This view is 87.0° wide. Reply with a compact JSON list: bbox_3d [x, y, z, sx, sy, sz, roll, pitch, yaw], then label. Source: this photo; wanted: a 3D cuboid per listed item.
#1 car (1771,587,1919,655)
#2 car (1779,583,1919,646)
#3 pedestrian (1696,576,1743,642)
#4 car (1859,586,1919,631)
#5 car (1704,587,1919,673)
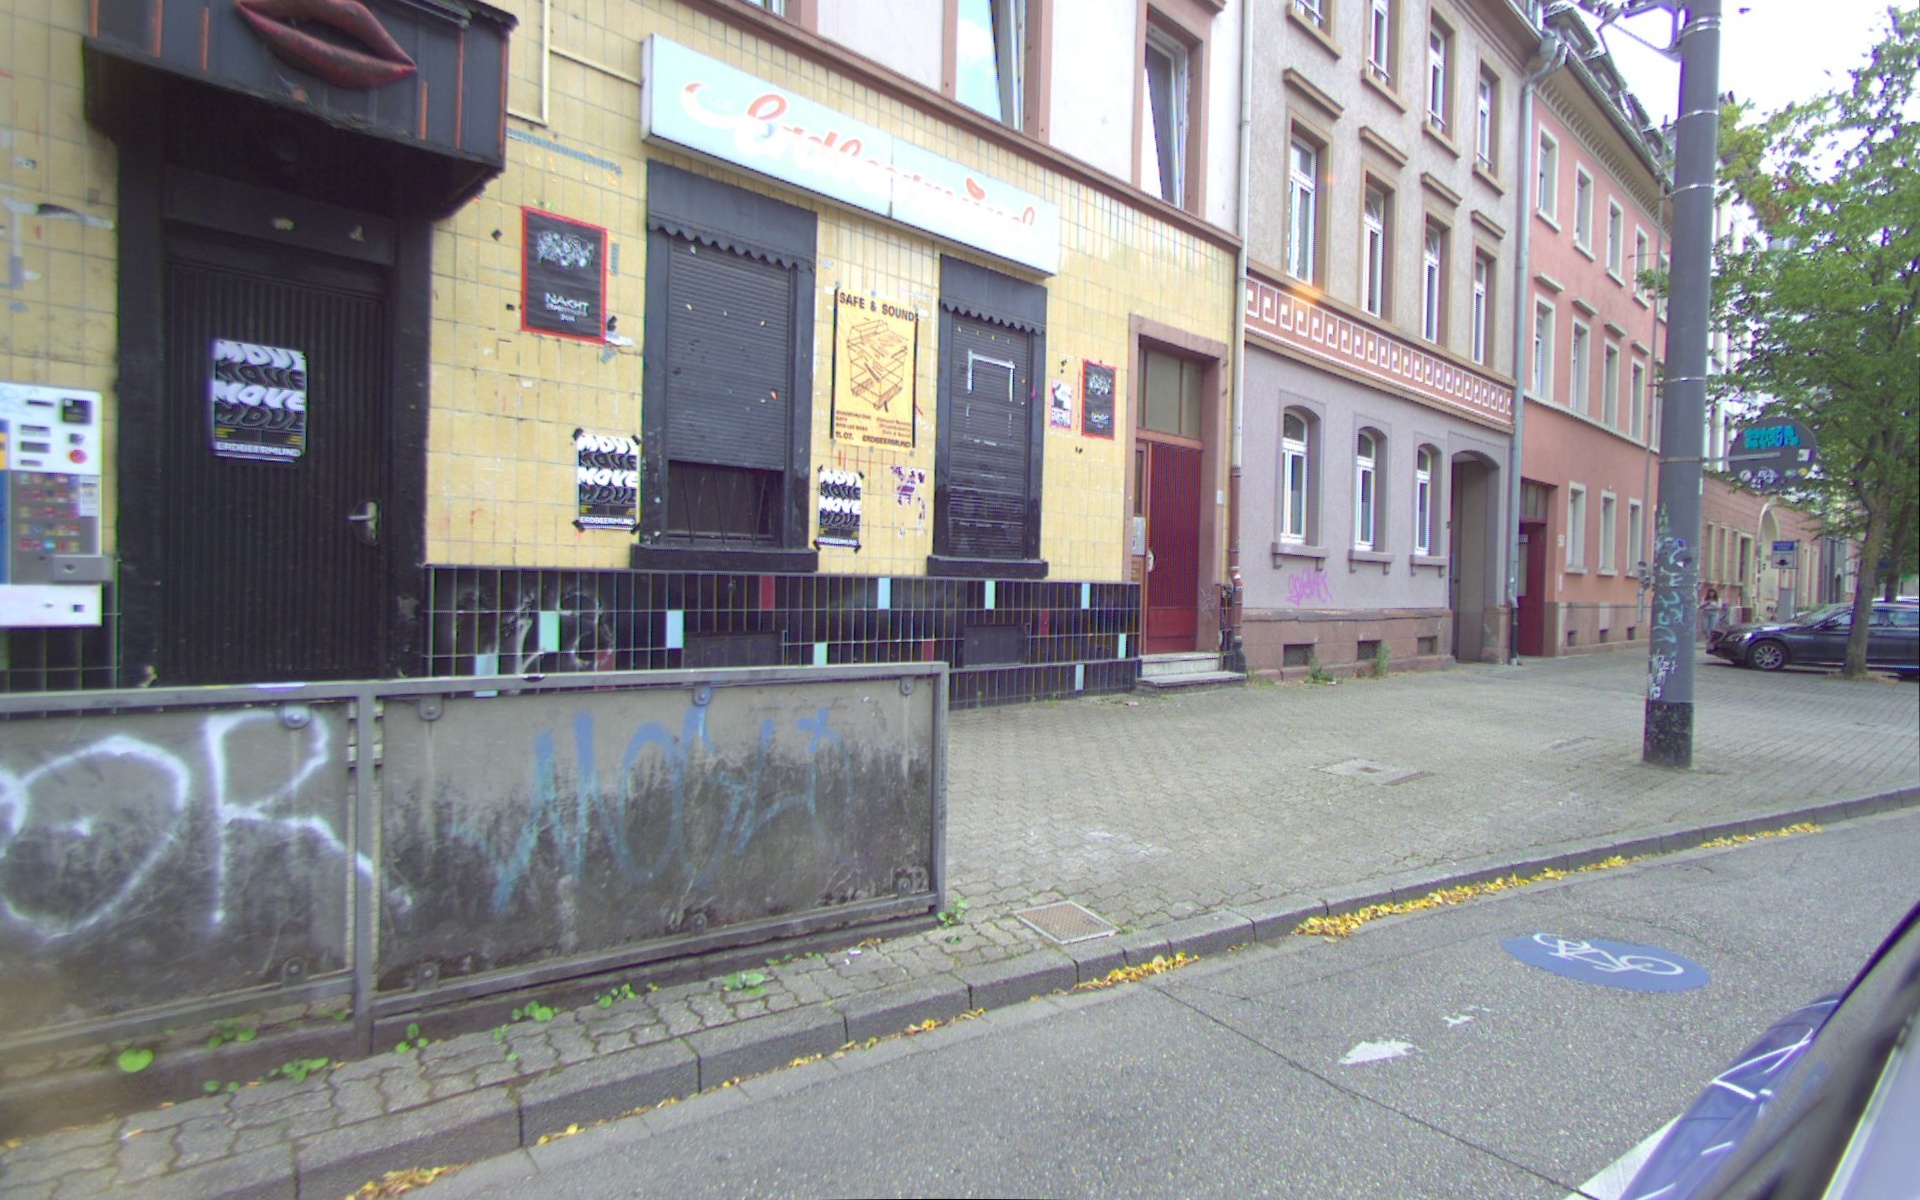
[{"bbox_3d":[23.161,0.536,25.144,4.301,1.498,1.774,3,2,25],"label":"car"},{"bbox_3d":[27.684,0.443,30.548,4.196,1.719,1.725,3,2,25],"label":"car"},{"bbox_3d":[20.848,0.244,27.779,0.910,1.708,0.732,1,4,-42],"label":"pedestrian"},{"bbox_3d":[39.223,0.408,40.368,4.581,1.719,1.901,3,2,25],"label":"car"},{"bbox_3d":[18.023,0.597,20.361,4.581,1.491,1.774,3,2,25],"label":"car"}]
